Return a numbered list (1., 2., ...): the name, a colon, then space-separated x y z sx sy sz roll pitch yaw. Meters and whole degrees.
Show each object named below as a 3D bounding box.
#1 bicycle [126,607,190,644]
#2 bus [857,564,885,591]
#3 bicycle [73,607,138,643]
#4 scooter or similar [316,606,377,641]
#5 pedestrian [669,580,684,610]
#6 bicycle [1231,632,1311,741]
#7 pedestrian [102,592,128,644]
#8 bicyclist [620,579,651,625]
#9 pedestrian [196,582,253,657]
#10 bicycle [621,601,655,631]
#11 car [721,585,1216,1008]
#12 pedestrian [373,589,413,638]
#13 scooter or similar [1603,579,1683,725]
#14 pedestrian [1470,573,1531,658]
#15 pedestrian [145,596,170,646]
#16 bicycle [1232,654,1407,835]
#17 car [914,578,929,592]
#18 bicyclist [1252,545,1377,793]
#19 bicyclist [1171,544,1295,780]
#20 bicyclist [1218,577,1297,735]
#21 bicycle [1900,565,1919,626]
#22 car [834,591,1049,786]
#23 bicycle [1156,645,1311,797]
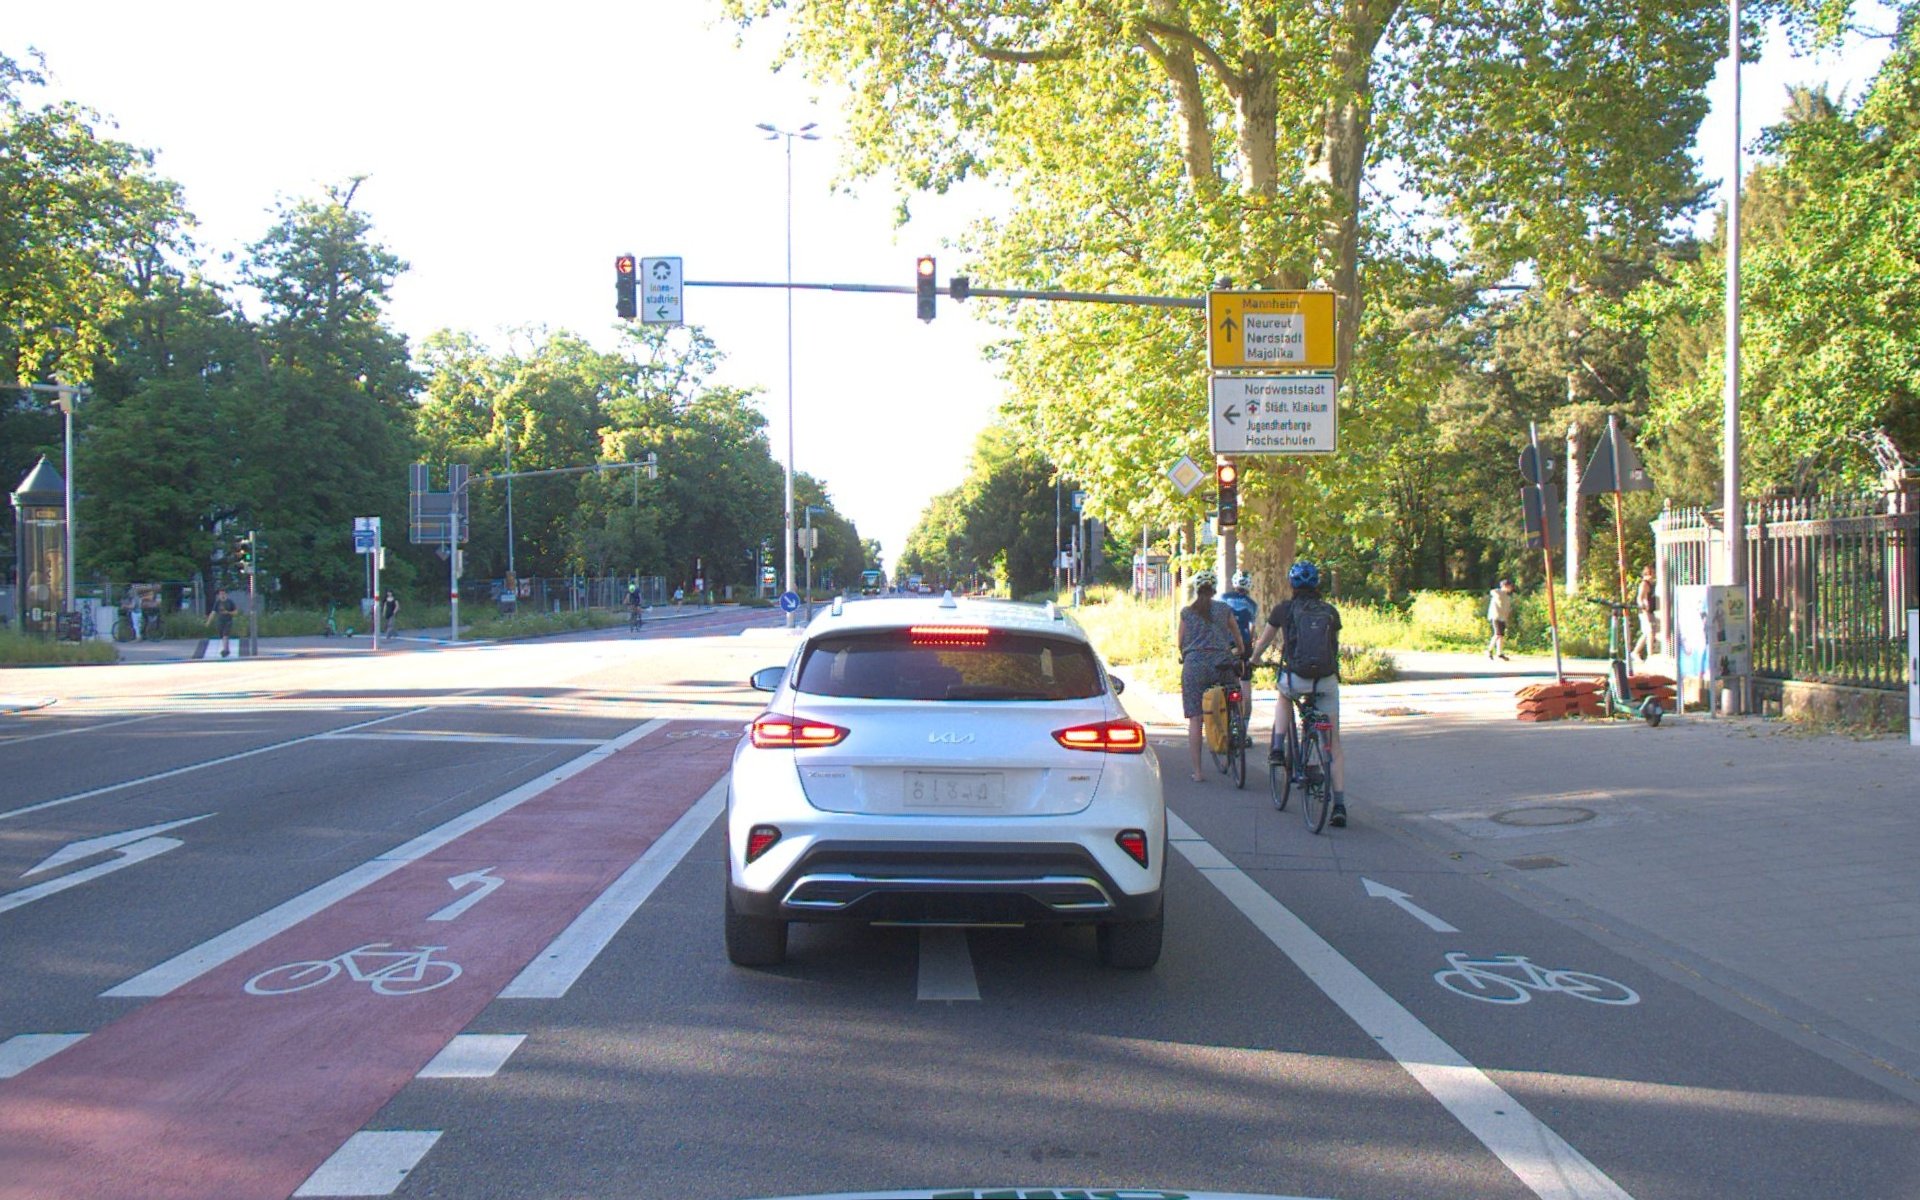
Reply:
1. bicycle: -26.002 0.822 53.636 1.826 1.168 0.290 0 0 -8
2. bus: -13.091 -3.290 242.273 3.668 3.737 13.228 -1 1 -4
3. bicycle: -27.795 0.821 53.803 1.826 1.168 0.442 0 0 -8
4. scooter or similar: -20.797 0.787 56.102 0.697 1.144 1.916 0 0 32
5. pedestrian: -17.075 -0.318 99.640 0.769 1.817 0.751 0 0 0
6. bicycle: 3.054 0.830 16.353 0.393 0.973 1.550 -3 0 -2
7. pedestrian: -27.344 0.570 53.543 0.617 1.671 0.444 0 0 -11
8. bicyclist: -11.862 0.065 60.465 0.857 1.636 1.188 -1 0 1
9. pedestrian: -20.442 0.536 46.003 0.974 2.049 1.191 0 0 4
10. bicycle: -11.762 0.573 60.495 0.650 1.006 2.504 -1 1 1
11. car: -0.038 0.687 7.923 1.785 1.506 3.934 0 1 -2
12. pedestrian: -19.114 0.444 55.781 1.067 1.631 0.999 -1 0 -7
13. scooter or similar: 6.549 0.476 15.895 0.223 1.350 1.171 -1 0 -2
14. pedestrian: 10.033 0.278 30.720 0.801 1.544 0.916 0 0 -2
15. pedestrian: -25.913 0.672 53.421 0.617 1.608 0.444 0 0 -11
16. bicycle: 2.400 0.928 11.294 0.655 1.027 2.080 1 1 -2
17. car: -5.847 -2.332 250.130 1.954 2.049 3.997 -1 1 -4
18. bicyclist: 2.406 0.451 11.284 0.652 1.630 0.720 1 0 -2
19. bicyclist: 2.210 0.482 13.518 0.738 1.827 1.164 1 0 -2
20. bicyclist: 2.950 0.544 16.451 0.543 1.504 0.716 -3 0 -2
21. bicycle: 17.081 -0.069 28.373 1.582 1.032 0.475 0 0 9
22. car: -0.219 0.700 15.020 1.694 1.509 3.515 -1 1 -3
23. bicycle: 2.194 0.939 13.645 0.742 1.031 2.568 1 1 -2
